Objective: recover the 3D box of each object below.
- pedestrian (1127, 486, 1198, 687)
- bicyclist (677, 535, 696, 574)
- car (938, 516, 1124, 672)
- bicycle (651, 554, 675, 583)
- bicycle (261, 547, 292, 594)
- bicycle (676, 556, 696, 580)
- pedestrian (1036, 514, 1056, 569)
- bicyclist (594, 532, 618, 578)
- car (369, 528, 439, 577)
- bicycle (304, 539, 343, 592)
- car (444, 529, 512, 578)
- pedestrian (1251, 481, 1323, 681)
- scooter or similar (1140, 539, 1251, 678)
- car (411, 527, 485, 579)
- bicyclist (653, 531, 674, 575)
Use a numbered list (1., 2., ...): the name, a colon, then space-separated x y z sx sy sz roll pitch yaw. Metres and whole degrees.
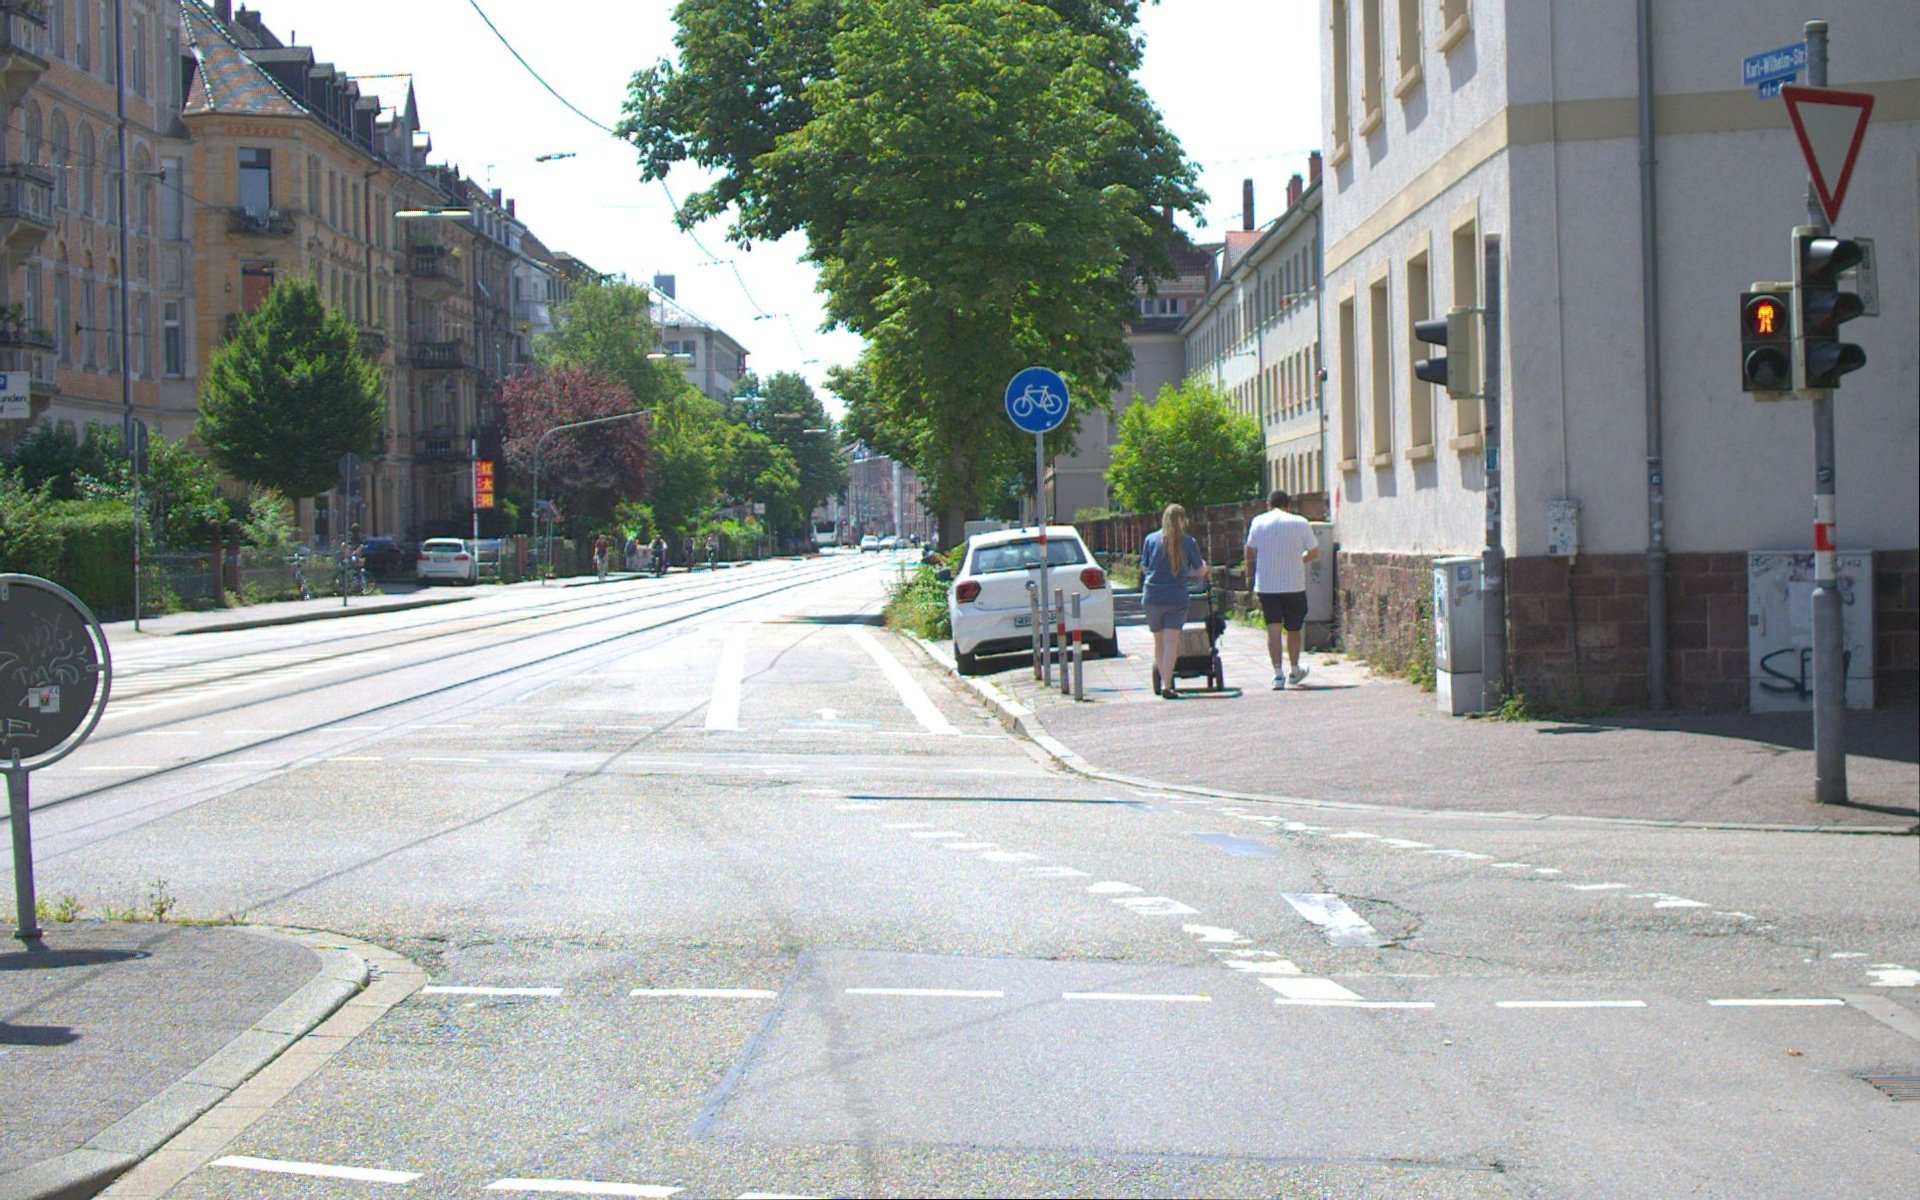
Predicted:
1. pedestrian: 1.680 -0.116 28.454 0.557 1.640 0.677 1 0 4
2. bicyclist: -12.712 -2.121 159.689 0.727 1.812 1.079 1 0 1
3. car: 0.717 -0.083 37.327 1.815 1.511 4.000 -3 1 -1
4. bicycle: -11.913 -1.263 137.976 0.727 1.119 2.085 1 1 1
5. bicycle: -15.909 -0.700 80.033 0.677 1.061 1.919 -1 1 -11
6. bicycle: -12.718 -1.491 159.725 0.727 1.119 2.085 1 1 1
7. pedestrian: 2.455 -1.669 97.766 0.521 1.557 0.573 -1 1 -1
8. bicyclist: -12.535 -1.590 121.731 0.727 1.623 1.079 1 0 1
9. car: -20.024 -1.703 123.910 1.919 1.709 4.000 1 1 -1
10. bicycle: -15.665 -0.851 84.676 0.677 1.274 1.919 -1 1 -3
11. car: -17.338 -1.665 123.837 1.919 1.709 4.000 1 1 -1
12. pedestrian: 2.721 -0.162 28.657 0.557 1.640 0.677 1 0 4
13. scooter or similar: 2.013 0.067 29.336 0.557 1.151 1.204 1 1 24
14. car: -17.194 -1.580 115.572 1.919 1.709 4.000 1 1 -1
15. bicyclist: -11.898 -1.891 137.974 0.727 1.762 1.079 1 0 1
